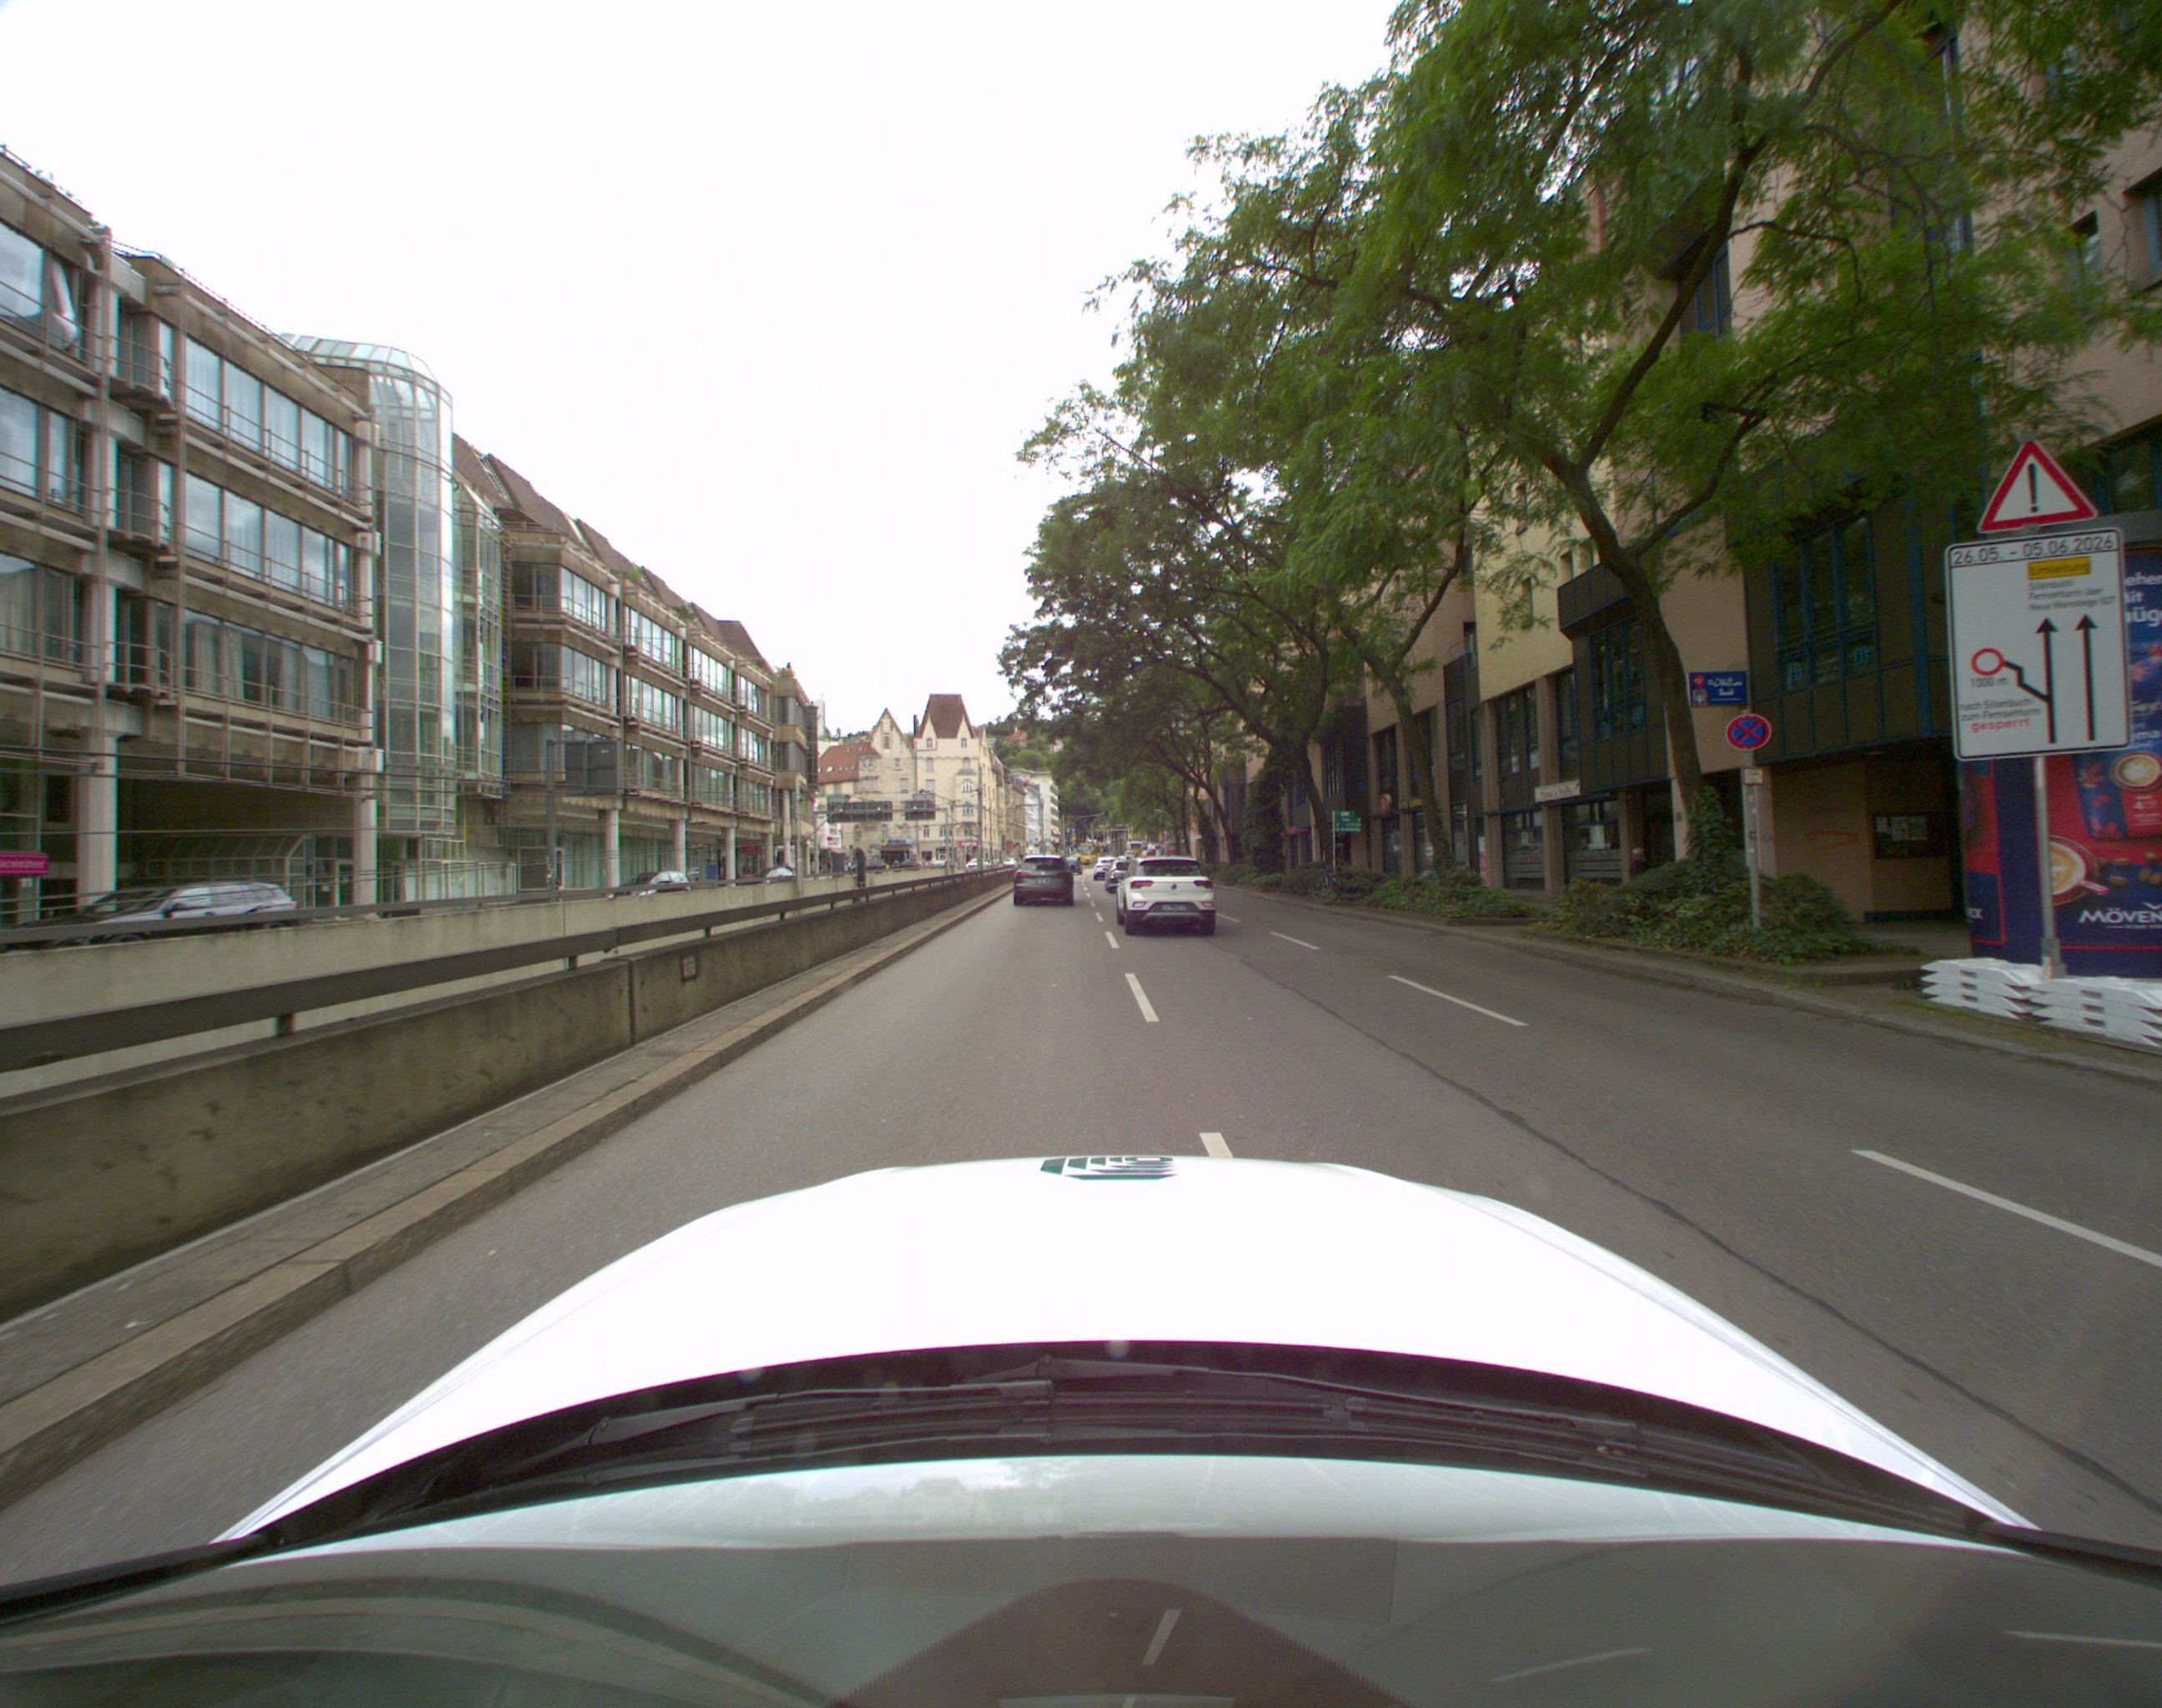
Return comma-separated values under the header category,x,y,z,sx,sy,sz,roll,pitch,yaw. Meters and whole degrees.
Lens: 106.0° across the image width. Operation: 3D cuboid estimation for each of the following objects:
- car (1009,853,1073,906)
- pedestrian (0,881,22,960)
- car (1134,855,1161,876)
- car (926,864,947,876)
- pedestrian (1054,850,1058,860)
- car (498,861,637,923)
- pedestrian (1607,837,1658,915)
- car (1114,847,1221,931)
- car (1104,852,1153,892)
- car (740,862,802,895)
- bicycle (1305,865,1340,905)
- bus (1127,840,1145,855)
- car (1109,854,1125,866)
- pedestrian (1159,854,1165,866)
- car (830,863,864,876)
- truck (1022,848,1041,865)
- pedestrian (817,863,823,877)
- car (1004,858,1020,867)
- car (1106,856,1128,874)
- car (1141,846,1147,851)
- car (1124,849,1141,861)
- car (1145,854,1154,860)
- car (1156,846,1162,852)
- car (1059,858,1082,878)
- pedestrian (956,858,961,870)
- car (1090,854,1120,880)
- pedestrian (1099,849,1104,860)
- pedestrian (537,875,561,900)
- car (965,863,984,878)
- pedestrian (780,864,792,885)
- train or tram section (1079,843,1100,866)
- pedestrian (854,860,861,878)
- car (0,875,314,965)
category,x,y,z,sx,sy,sz,roll,pitch,yaw
car,-1.292,0.805,27.567,1.988,1.636,3.998,-1,0,-1
pedestrian,-25.006,1.530,18.570,0.728,1.793,0.740,0,-1,0
car,6.678,1.135,82.459,2.356,2.014,5.149,0,-1,1
car,-18.184,1.998,102.796,1.658,1.501,4.415,-2,0,2
pedestrian,-4.257,0.238,139.986,0.634,1.711,0.689,-1,0,-3
car,-18.475,1.294,29.631,1.987,1.963,4.789,-2,0,-1
pedestrian,12.436,0.492,18.380,0.706,1.711,0.689,-1,0,6
car,1.714,0.682,17.418,1.832,1.584,4.155,0,-1,0
car,2.053,0.772,36.088,1.879,1.684,4.160,0,-1,0
car,-18.342,1.442,48.395,1.987,1.914,4.377,0,-1,0
bicycle,7.456,0.936,25.186,0.361,1.201,1.565,-2,0,-9
bus,11.978,-1.367,176.779,3.355,3.065,13.346,0,-1,6
car,5.102,0.889,114.308,1.875,1.684,4.168,0,-1,6
pedestrian,12.329,0.940,123.881,0.690,1.777,0.690,-6,-1,2
car,-29.798,1.980,103.723,4.042,1.501,1.658,-1,0,-19
truck,-9.570,0.502,159.469,2.254,3.076,7.391,0,-1,8
pedestrian,-32.268,1.978,100.620,0.507,1.780,0.578,-1,-1,8
car,-11.498,1.439,135.603,1.740,1.561,4.521,0,-1,6
car,4.105,1.207,92.727,2.356,2.014,5.149,0,-1,1
car,17.671,-1.527,228.545,1.665,1.561,3.684,0,-1,6
car,8.976,0.270,141.068,2.350,2.014,5.161,0,-1,9
car,13.538,0.542,161.003,1.574,1.172,3.684,0,-1,6
car,22.429,-1.495,233.825,1.665,1.561,3.684,0,-1,6
car,-0.879,1.182,70.345,1.879,1.684,4.160,0,-1,0
pedestrian,-18.435,1.528,122.944,0.571,1.780,0.513,-1,-1,11
car,1.598,0.856,54.693,1.879,1.684,4.160,0,-1,0
pedestrian,3.242,0.013,129.838,0.682,1.711,0.713,-1,0,6
pedestrian,-27.703,1.720,42.424,0.728,1.265,0.740,0,-1,0
car,-13.008,2.002,99.823,1.829,1.842,4.600,2,-1,-3
pedestrian,-24.759,1.722,68.433,0.728,1.811,0.740,0,-1,0
train or tram section,1.378,0.006,132.597,2.820,3.678,5.762,0,0,6
pedestrian,-23.156,1.538,84.478,0.507,1.780,0.578,-1,-1,8
car,-19.866,1.310,17.809,1.809,1.560,4.639,-2,0,-2
